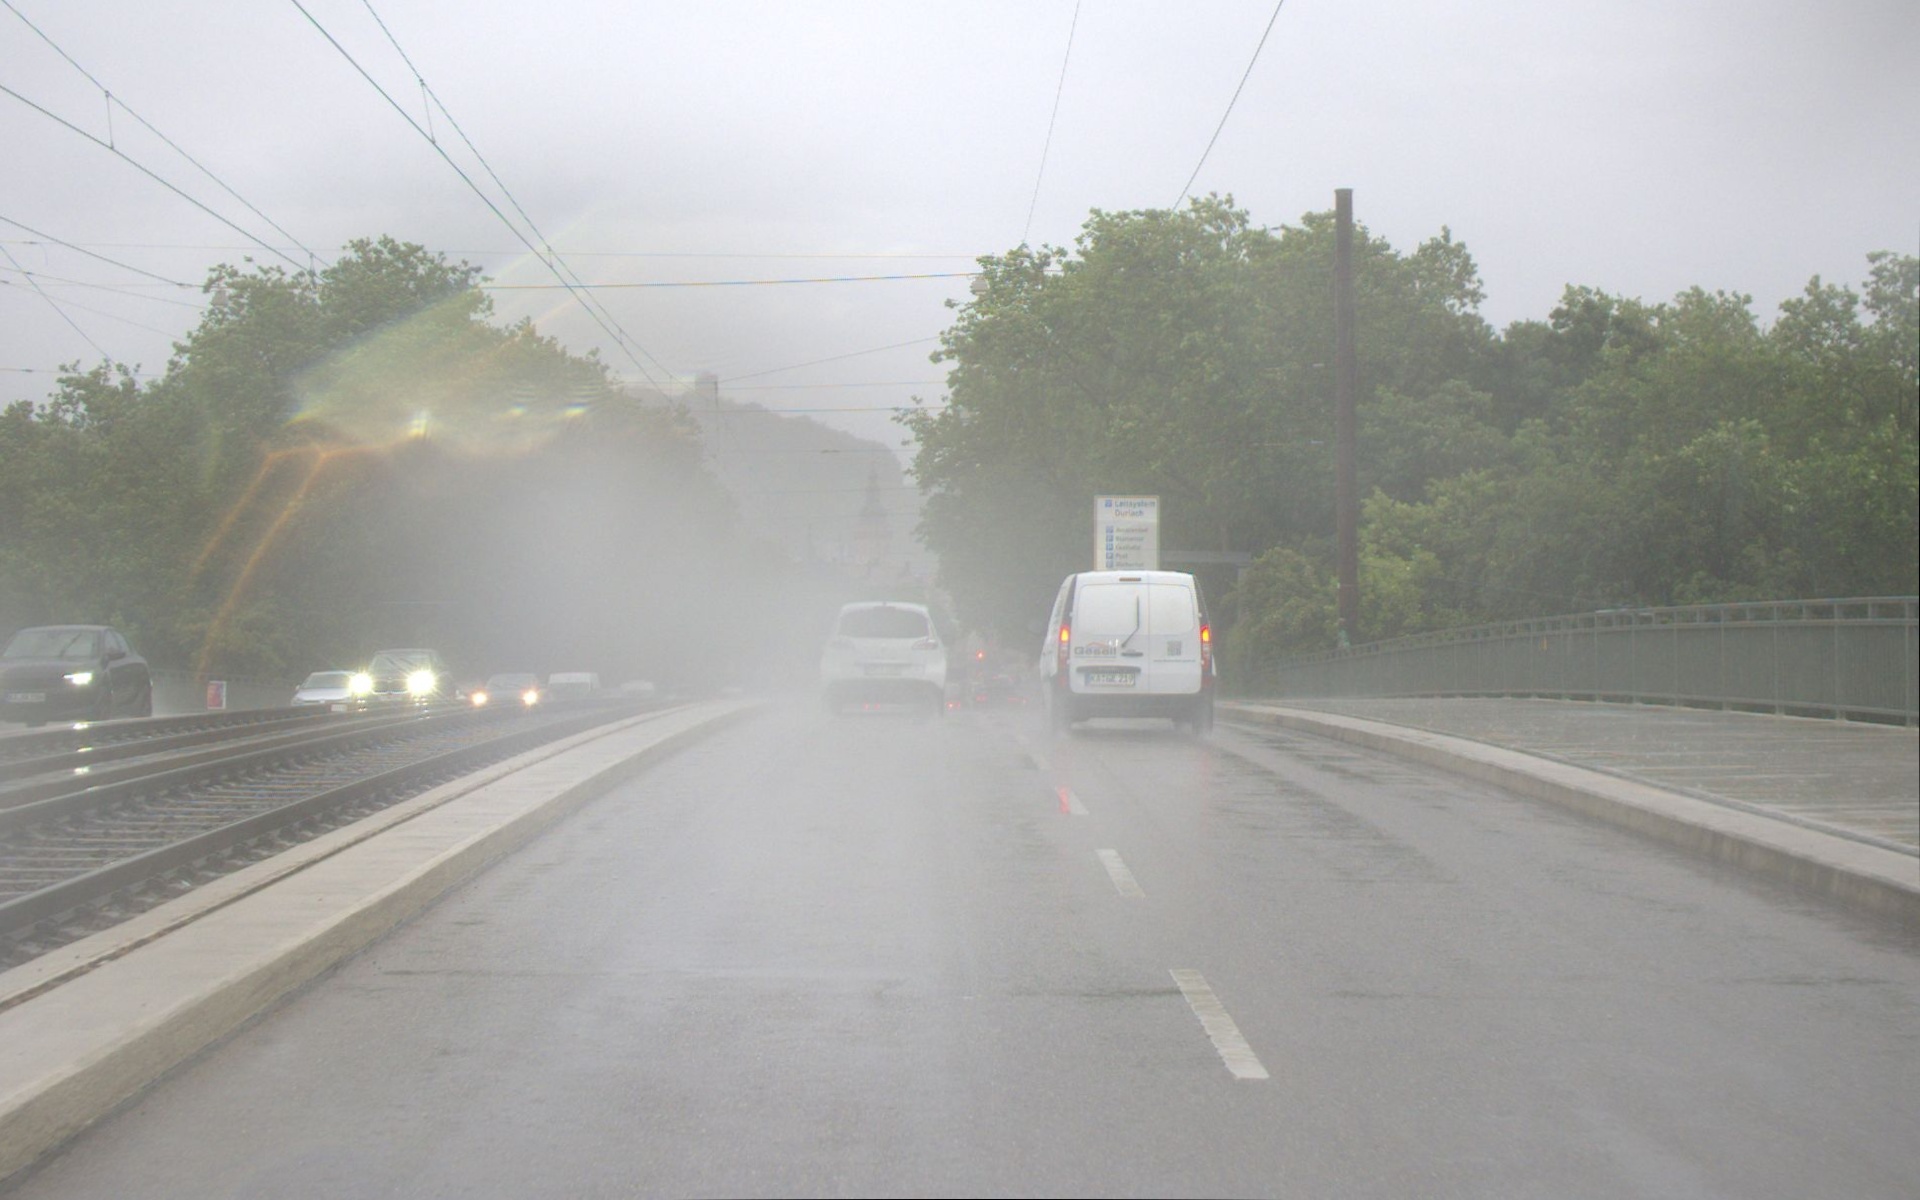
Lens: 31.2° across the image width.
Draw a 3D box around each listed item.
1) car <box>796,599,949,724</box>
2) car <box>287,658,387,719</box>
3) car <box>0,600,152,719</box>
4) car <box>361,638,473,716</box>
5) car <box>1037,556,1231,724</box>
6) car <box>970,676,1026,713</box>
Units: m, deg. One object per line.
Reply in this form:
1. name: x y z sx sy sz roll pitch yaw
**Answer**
1. car: -1.237 0.904 50.451 1.993 1.711 3.999 1 -1 2
2. car: -16.032 2.267 88.610 1.863 1.451 4.319 -2 -1 -1
3. car: -12.478 0.830 46.909 1.993 1.504 4.092 -2 -1 -1
4. car: -12.012 1.696 76.280 1.818 1.649 4.000 1 -1 0
5. car: 1.880 0.459 38.088 1.993 1.720 3.999 1 -1 2
6. car: 1.449 3.506 128.058 1.993 1.317 3.999 1 -1 2
